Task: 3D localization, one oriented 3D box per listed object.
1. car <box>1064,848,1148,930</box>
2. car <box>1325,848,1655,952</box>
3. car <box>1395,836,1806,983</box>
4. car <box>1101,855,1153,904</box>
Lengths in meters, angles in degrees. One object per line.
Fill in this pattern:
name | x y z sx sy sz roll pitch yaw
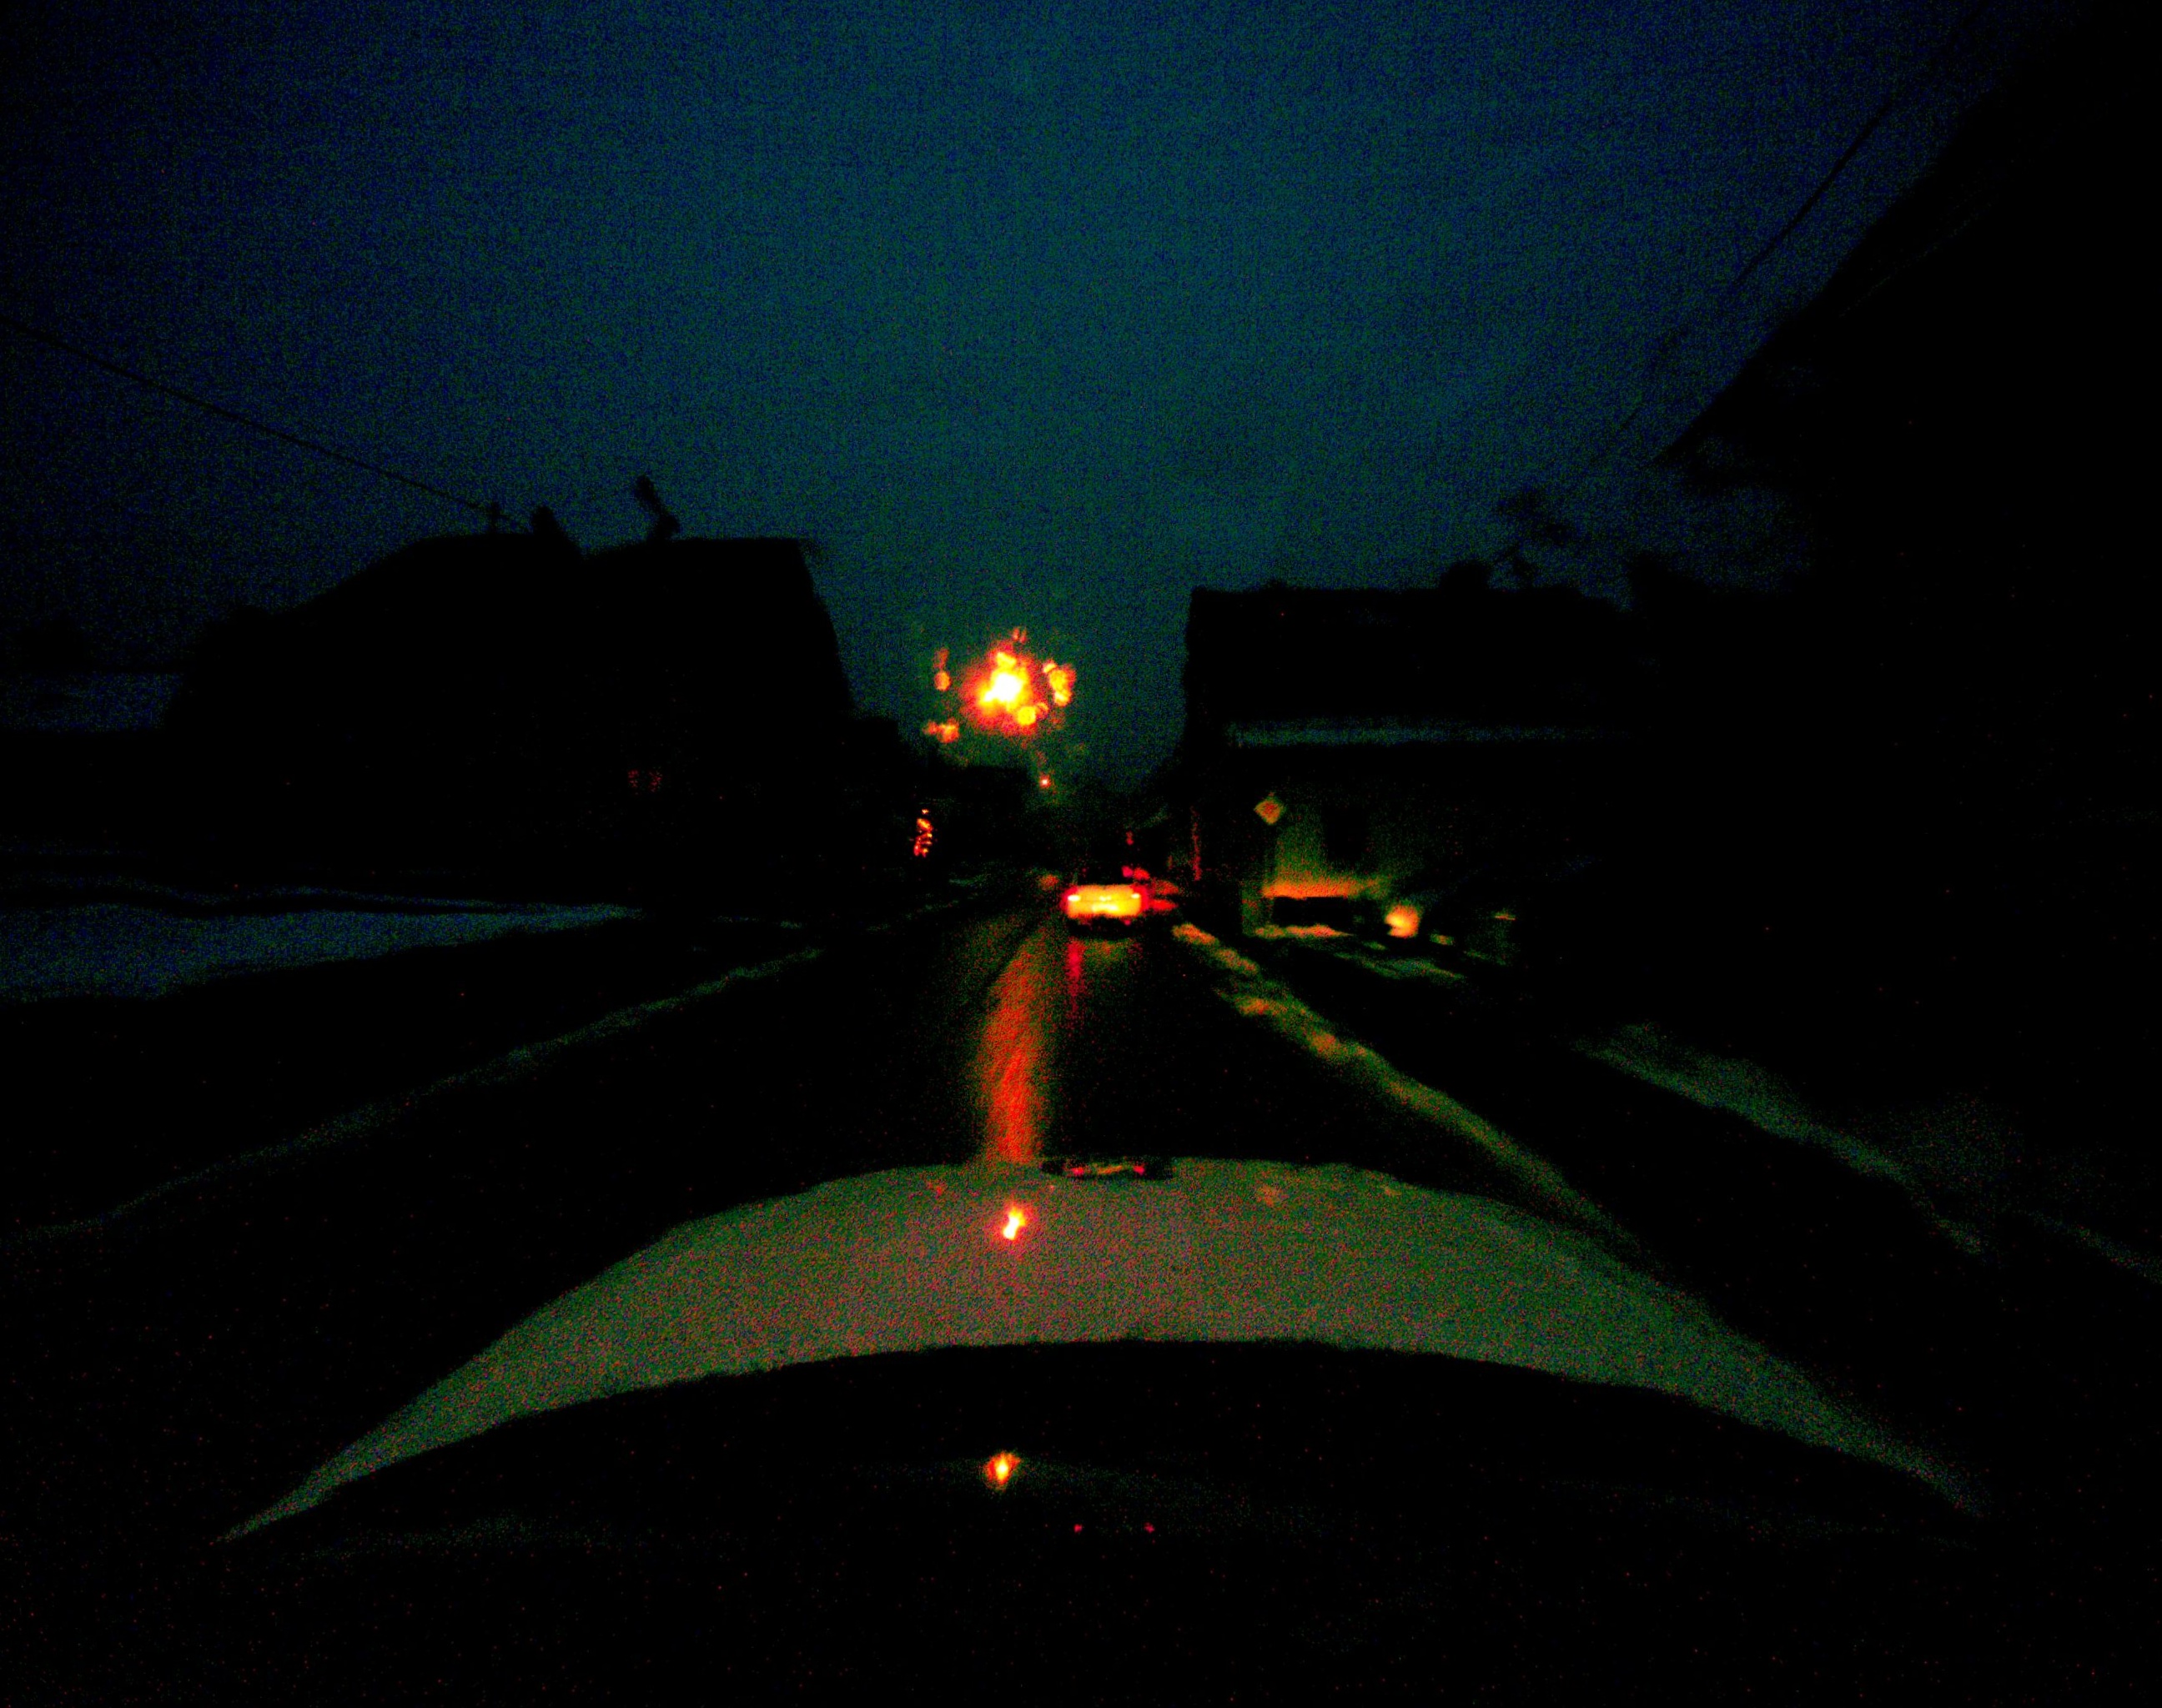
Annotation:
car | 0.513 0.727 17.950 1.640 1.596 3.699 1 -1 0
car | 6.114 0.658 12.506 4.160 1.433 1.899 1 0 -3
car | 5.892 0.570 9.540 3.734 1.497 1.819 -1 0 -4
car | 1.588 0.887 29.217 1.640 1.596 3.699 1 -1 0
